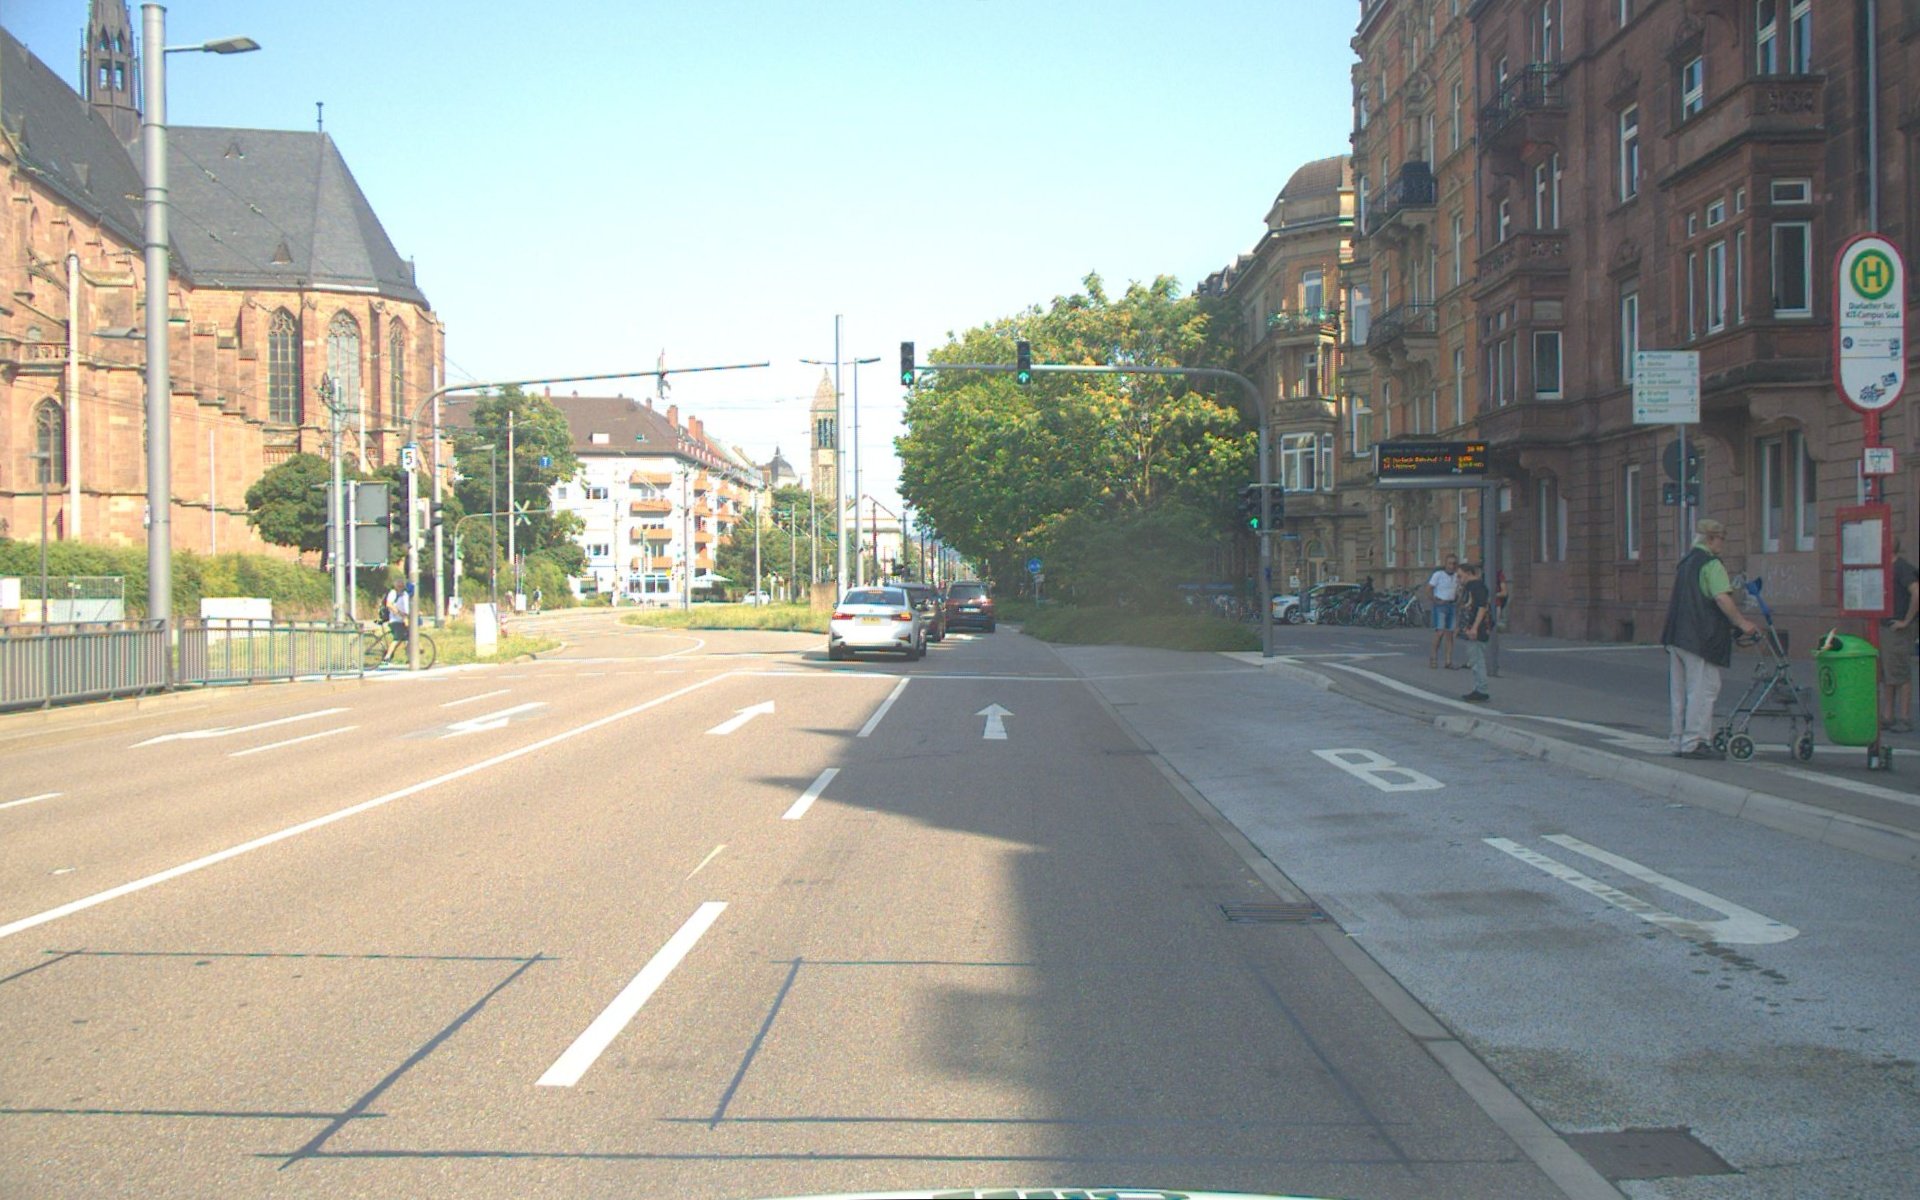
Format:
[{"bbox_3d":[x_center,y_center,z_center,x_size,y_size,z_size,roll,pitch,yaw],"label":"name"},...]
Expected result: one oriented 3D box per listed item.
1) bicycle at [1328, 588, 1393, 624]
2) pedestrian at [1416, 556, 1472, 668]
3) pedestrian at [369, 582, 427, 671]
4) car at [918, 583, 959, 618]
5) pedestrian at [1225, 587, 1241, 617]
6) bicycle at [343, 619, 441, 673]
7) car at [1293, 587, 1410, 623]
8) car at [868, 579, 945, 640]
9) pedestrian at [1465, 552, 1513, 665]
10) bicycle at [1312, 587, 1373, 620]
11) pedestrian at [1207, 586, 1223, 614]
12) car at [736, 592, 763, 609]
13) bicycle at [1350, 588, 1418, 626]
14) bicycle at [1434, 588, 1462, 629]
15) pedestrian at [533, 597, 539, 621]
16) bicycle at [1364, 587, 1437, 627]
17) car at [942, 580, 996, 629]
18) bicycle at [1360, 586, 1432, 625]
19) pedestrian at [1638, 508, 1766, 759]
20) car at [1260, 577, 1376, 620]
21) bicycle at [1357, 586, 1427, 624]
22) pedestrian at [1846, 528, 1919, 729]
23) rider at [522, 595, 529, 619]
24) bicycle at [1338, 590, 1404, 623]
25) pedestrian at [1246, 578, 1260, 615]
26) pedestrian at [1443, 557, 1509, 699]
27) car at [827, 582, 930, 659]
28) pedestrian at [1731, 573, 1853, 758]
[{"bbox_3d":[12.440,0.179,51.350,1.890,1.066,0.527,-1,0,-5],"label":"bicycle"},{"bbox_3d":[7.479,0.177,25.562,0.676,1.693,0.619,-1,0,1],"label":"pedestrian"},{"bbox_3d":[-10.954,0.513,32.238,0.898,1.709,0.602,-1,0,0],"label":"pedestrian"},{"bbox_3d":[-1.020,0.008,79.887,1.794,1.649,4.358,0,0,1],"label":"car"},{"bbox_3d":[11.530,0.088,69.912,0.585,1.270,0.506,-1,0,0],"label":"pedestrian"},{"bbox_3d":[-11.063,0.887,32.227,1.723,0.995,0.479,-1,0,-1],"label":"bicycle"},{"bbox_3d":[14.290,0.172,60.488,3.858,1.243,1.546,-1,0,-3],"label":"car"},{"bbox_3d":[-1.505,0.247,47.748,1.952,1.649,4.358,0,0,1],"label":"car"},{"bbox_3d":[8.269,0.125,25.868,0.471,1.731,0.703,-1,0,-2],"label":"pedestrian"},{"bbox_3d":[12.600,0.117,54.487,1.890,1.066,0.527,-1,0,-5],"label":"bicycle"},{"bbox_3d":[10.324,0.004,66.947,0.439,1.089,0.482,-1,0,-29],"label":"pedestrian"},{"bbox_3d":[-19.251,0.053,151.257,1.953,1.526,3.999,-1,0,-1],"label":"car"},{"bbox_3d":[12.616,0.204,49.273,1.890,1.066,0.499,-1,0,-5],"label":"bicycle"},{"bbox_3d":[13.157,0.221,44.616,0.407,1.066,1.671,-1,0,6],"label":"bicycle"},{"bbox_3d":[-27.389,0.607,106.860,0.298,1.544,0.340,-1,0,-3],"label":"pedestrian"},{"bbox_3d":[12.295,0.195,46.164,1.890,1.066,0.499,-1,0,-5],"label":"bicycle"},{"bbox_3d":[0.352,0.136,57.747,1.794,1.649,4.358,0,0,1],"label":"car"},{"bbox_3d":[12.383,0.159,46.981,1.890,1.066,0.499,-1,0,-5],"label":"bicycle"},{"bbox_3d":[5.383,0.232,12.029,0.553,1.759,0.745,-1,0,-2],"label":"pedestrian"},{"bbox_3d":[14.201,-0.048,65.698,4.097,1.590,1.999,-1,0,-3],"label":"car"},{"bbox_3d":[12.434,0.142,47.615,1.890,1.066,0.499,-1,0,-5],"label":"bicycle"},{"bbox_3d":[8.392,0.246,14.911,0.334,1.763,0.805,-1,0,-2],"label":"pedestrian"},{"bbox_3d":[-26.263,0.441,99.949,0.300,1.456,0.250,-1,0,20],"label":"rider"},{"bbox_3d":[12.436,0.194,50.074,1.890,0.967,0.499,-1,0,-5],"label":"bicycle"},{"bbox_3d":[12.056,-0.151,67.967,0.435,1.532,0.486,-1,0,-4],"label":"pedestrian"},{"bbox_3d":[6.104,0.323,19.591,0.517,1.640,0.703,-1,0,-2],"label":"pedestrian"},{"bbox_3d":[-1.608,0.369,34.050,1.772,1.452,4.775,1,1,1],"label":"car"},{"bbox_3d":[6.019,0.460,11.982,0.553,1.300,0.597,-1,0,-3],"label":"pedestrian"}]
